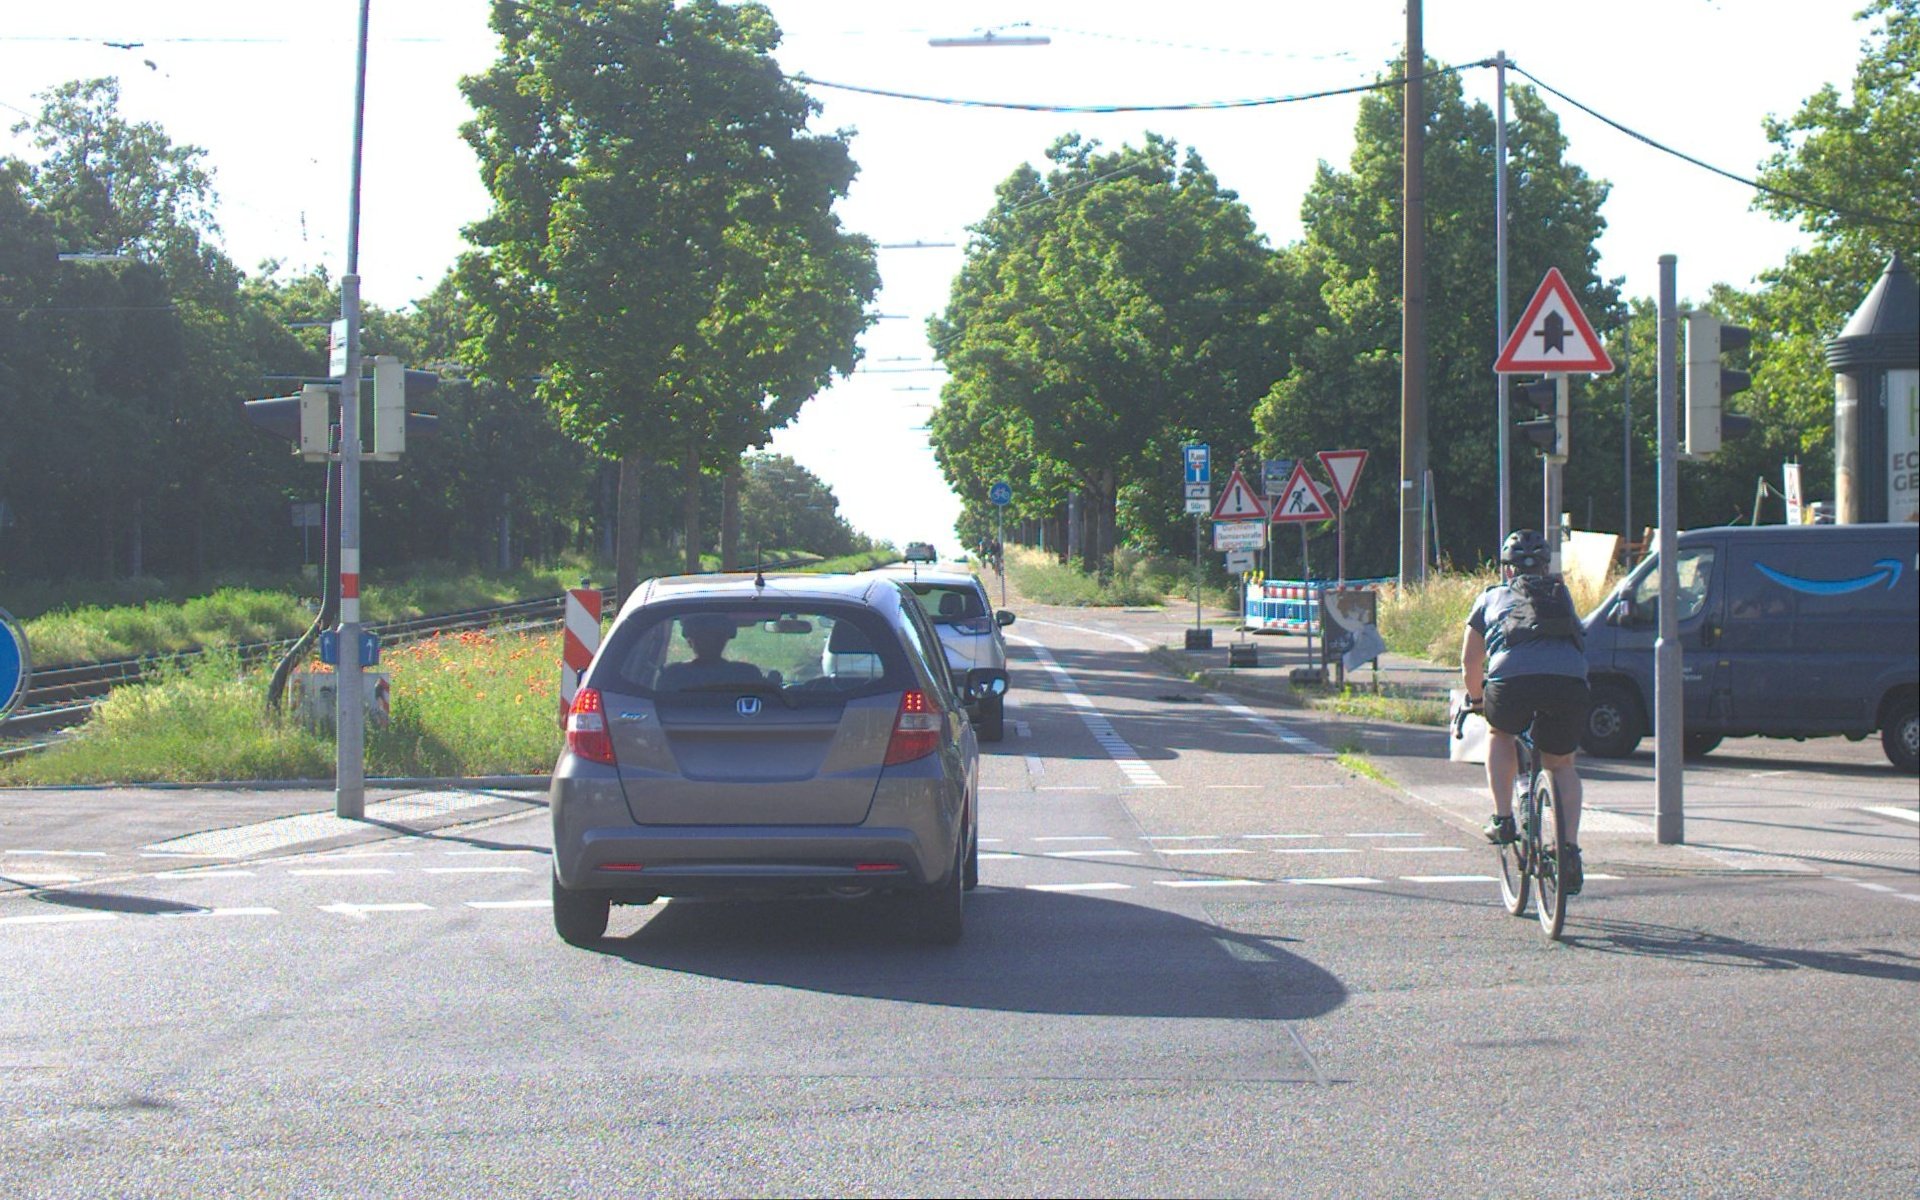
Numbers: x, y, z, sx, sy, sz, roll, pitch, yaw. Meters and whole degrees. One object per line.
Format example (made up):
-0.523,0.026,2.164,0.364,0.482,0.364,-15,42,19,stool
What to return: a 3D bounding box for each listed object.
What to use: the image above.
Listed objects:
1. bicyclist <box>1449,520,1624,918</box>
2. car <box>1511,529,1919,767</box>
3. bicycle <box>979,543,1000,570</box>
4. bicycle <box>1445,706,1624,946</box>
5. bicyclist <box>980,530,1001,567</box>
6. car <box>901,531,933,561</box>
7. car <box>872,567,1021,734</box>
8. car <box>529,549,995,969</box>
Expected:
2.493,0.501,14.934,0.615,1.674,0.933,0,0,1,bicyclist
7.830,0.407,31.391,5.112,2.063,2.127,0,0,33,car
1.244,-1.804,143.188,0.818,1.044,2.506,1,-1,1,bicycle
2.507,0.961,15.172,0.524,0.920,2.089,0,0,3,bicycle
1.260,-2.144,143.211,0.818,1.519,0.966,1,-1,1,bicyclist
-2.898,-3.653,232.337,1.993,2.007,4.000,0,0,1,car
-0.098,0.459,33.020,1.351,1.522,3.123,0,0,1,car
-0.747,0.585,15.052,1.671,1.510,3.674,2,2,2,car
